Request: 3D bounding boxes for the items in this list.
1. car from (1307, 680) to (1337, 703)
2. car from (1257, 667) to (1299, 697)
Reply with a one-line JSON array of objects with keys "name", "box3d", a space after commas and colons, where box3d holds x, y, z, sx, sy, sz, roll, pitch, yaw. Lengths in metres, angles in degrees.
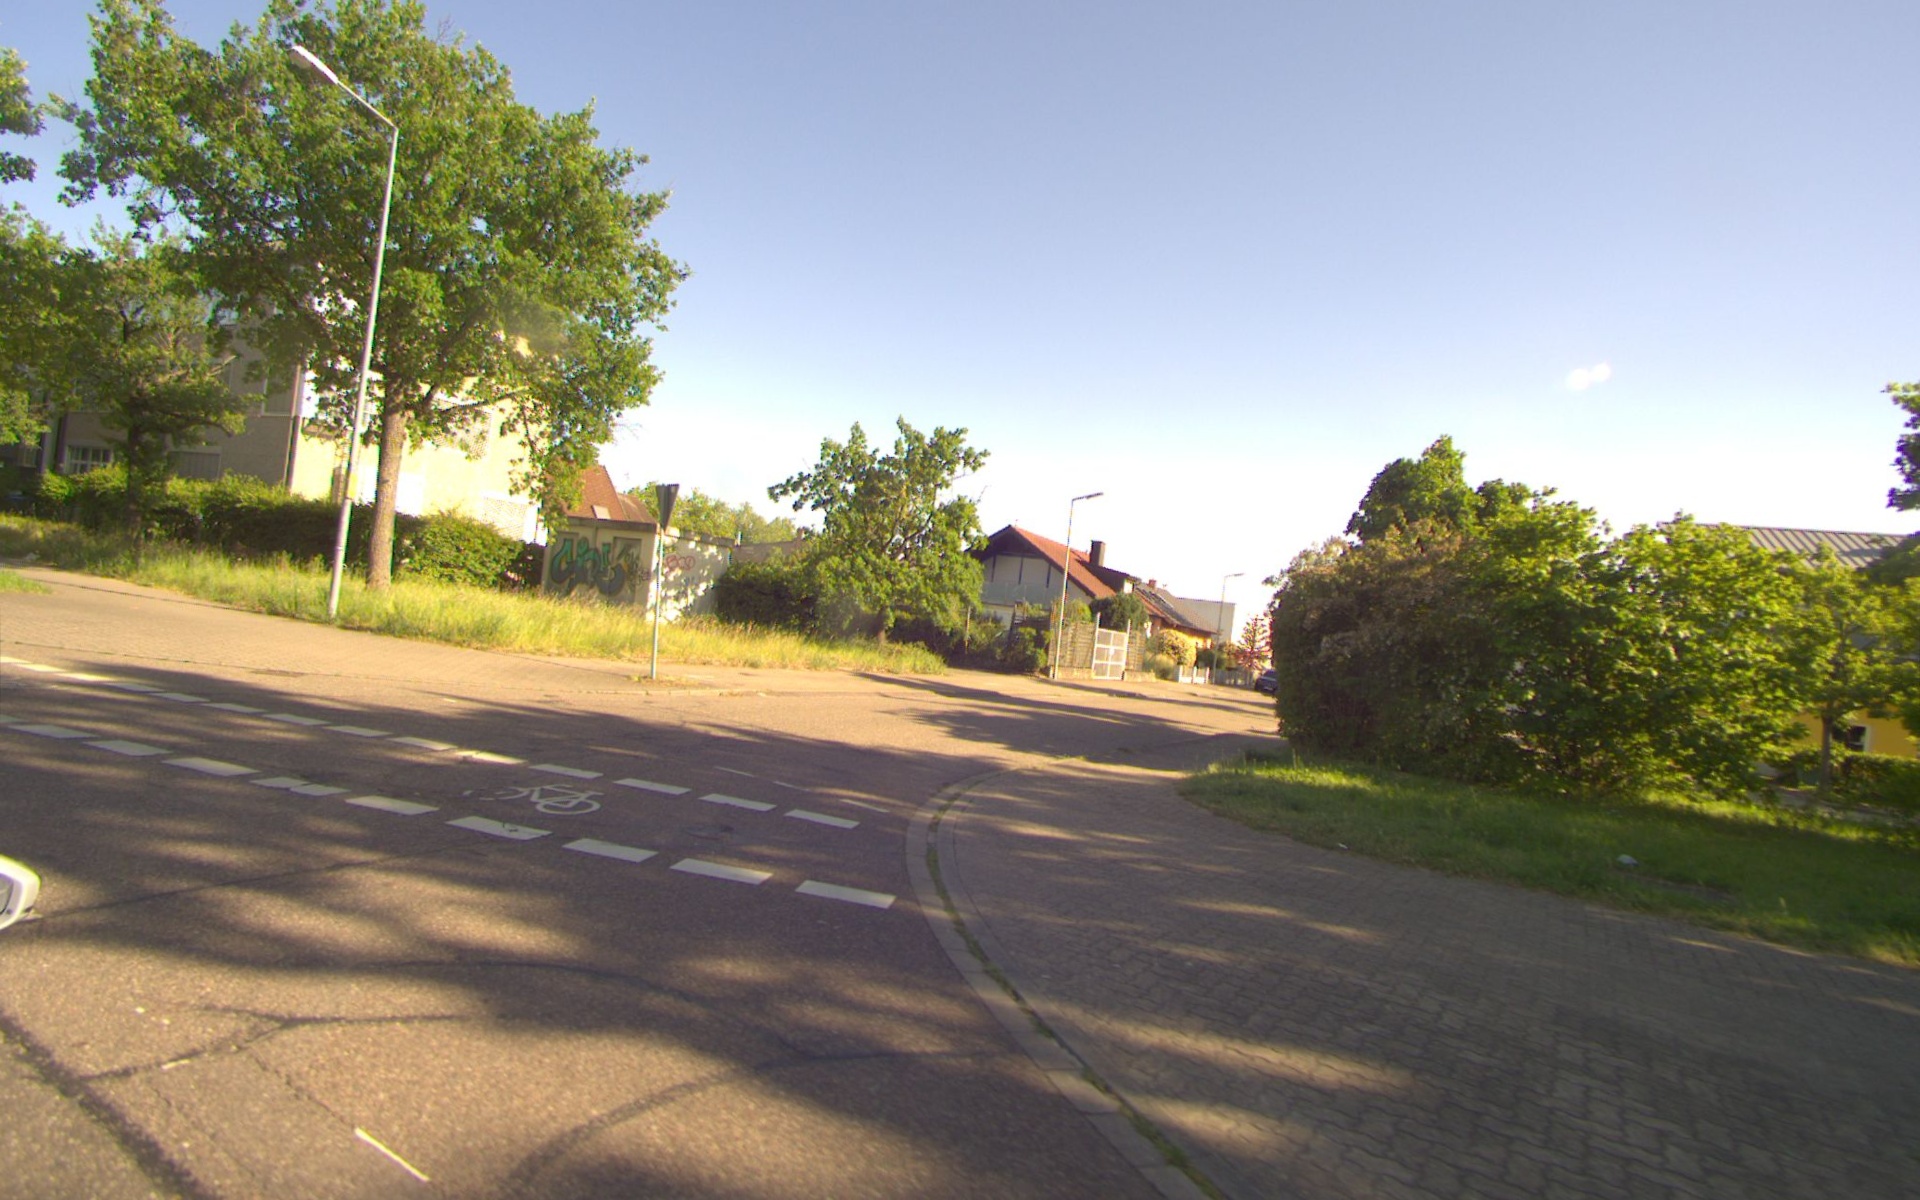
[{"name": "car", "box3d": [30.673, 7.768, 85.207, 1.964, 1.557, 4.003, 6, -3, 24]}, {"name": "car", "box3d": [20.320, 5.231, 64.157, 1.964, 1.557, 4.003, 6, -3, 24]}]
